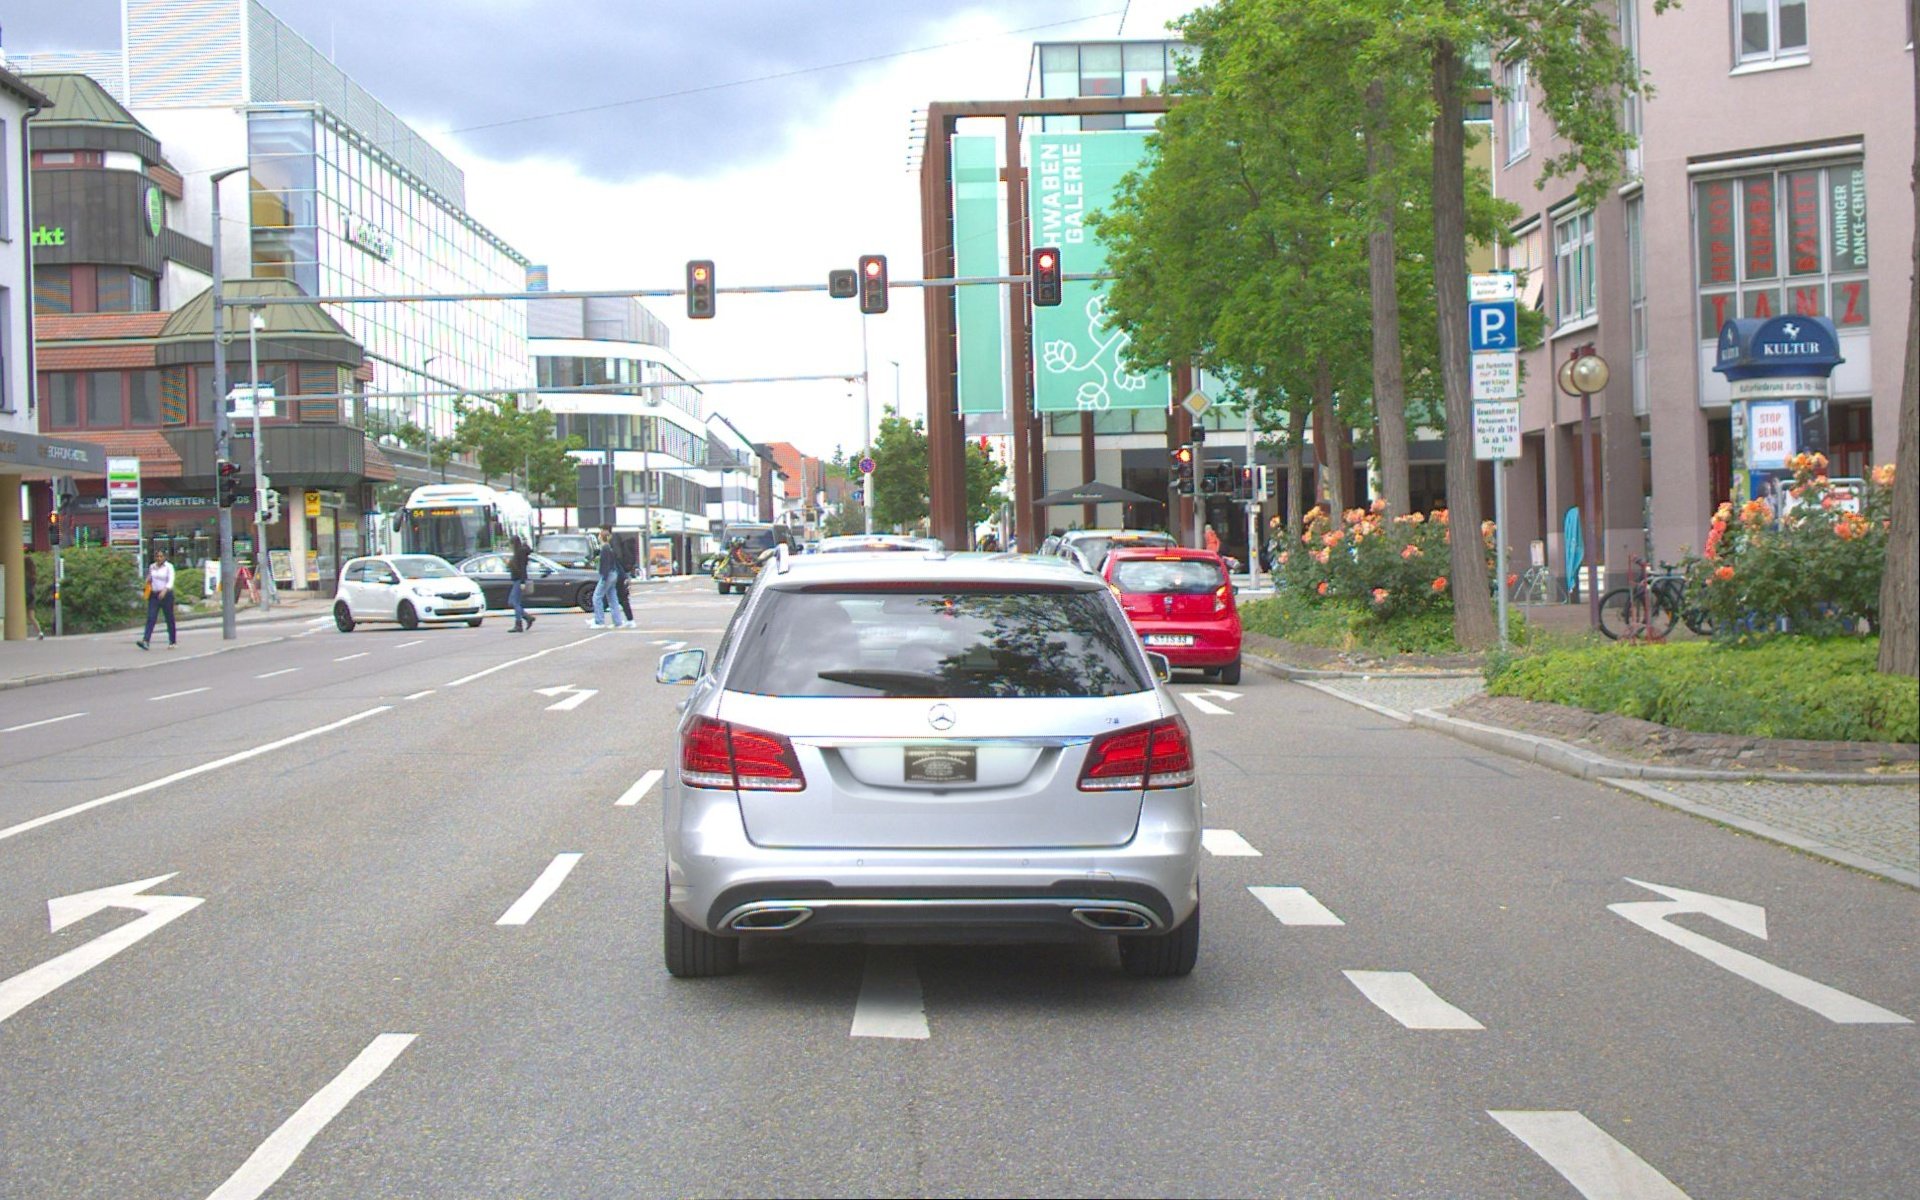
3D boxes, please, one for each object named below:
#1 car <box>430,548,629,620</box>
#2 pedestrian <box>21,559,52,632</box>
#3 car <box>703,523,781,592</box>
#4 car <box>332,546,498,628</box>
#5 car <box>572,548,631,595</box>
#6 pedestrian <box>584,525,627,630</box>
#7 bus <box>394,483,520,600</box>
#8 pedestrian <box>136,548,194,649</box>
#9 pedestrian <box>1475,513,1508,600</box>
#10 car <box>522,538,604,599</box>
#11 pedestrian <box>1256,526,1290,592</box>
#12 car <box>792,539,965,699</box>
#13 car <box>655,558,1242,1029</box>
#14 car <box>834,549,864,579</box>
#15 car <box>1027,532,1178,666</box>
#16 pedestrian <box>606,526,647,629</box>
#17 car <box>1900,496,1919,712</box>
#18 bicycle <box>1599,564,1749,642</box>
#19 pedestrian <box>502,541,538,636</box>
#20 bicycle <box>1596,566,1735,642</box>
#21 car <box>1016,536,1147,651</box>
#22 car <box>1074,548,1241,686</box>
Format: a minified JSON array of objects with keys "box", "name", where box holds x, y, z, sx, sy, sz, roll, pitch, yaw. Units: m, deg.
[{"box":[-9.563,-0.367,76.547,4.187,1.525,1.790,-1,1,0],"name":"car"},{"box":[-18.247,-0.096,67.909,0.450,1.423,0.441,-1,1,0],"name":"pedestrian"},{"box":[-6.331,-1.261,100.415,1.993,1.942,4.951,-1,1,-1],"name":"car"},{"box":[-10.556,-0.243,66.502,1.574,1.483,3.462,-3,1,-40],"name":"car"},{"box":[-11.033,-0.898,105.938,1.555,1.387,3.288,-1,1,-2],"name":"car"},{"box":[-6.100,-0.397,59.205,0.646,1.784,0.684,-1,1,-10],"name":"pedestrian"},{"box":[-14.733,-1.719,101.181,2.686,3.250,8.654,-1,1,-2],"name":"bus"},{"box":[-12.756,-0.032,55.187,0.728,1.604,0.753,-1,1,-1],"name":"pedestrian"},{"box":[10.879,-0.892,70.321,0.568,1.769,0.647,-1,1,3],"name":"pedestrian"},{"box":[-11.366,-0.926,98.676,1.993,1.700,4.065,-1,1,-2],"name":"car"},{"box":[7.888,-1.024,86.672,0.651,1.645,0.559,-1,1,-15],"name":"pedestrian"},{"box":[-0.805,0.150,34.300,1.640,1.522,3.394,0,1,-1],"name":"car"},{"box":[-0.213,0.581,12.875,1.815,1.443,4.370,1,1,-5],"name":"car"},{"box":[-6.505,-2.098,201.757,1.716,1.700,4.065,-1,1,-2],"name":"car"},{"box":[1.784,-0.045,44.053,1.586,1.628,3.917,1,1,-3],"name":"car"},{"box":[-5.807,-0.399,59.892,0.644,1.769,0.570,-1,1,-9],"name":"pedestrian"},{"box":[9.338,0.029,27.903,1.880,1.869,4.606,-2,1,-3],"name":"car"},{"box":[9.542,0.039,45.981,1.901,0.994,0.468,-1,1,4],"name":"bicycle"},{"box":[-7.660,-0.201,59.872,0.557,1.645,0.654,-1,1,-4],"name":"pedestrian"},{"box":[9.543,0.051,46.528,1.769,0.994,0.447,-1,1,4],"name":"bicycle"},{"box":[1.737,-0.127,50.221,1.586,1.589,3.868,1,1,-3],"name":"car"},{"box":[2.140,0.156,37.939,1.586,1.438,3.348,1,1,-1],"name":"car"}]
